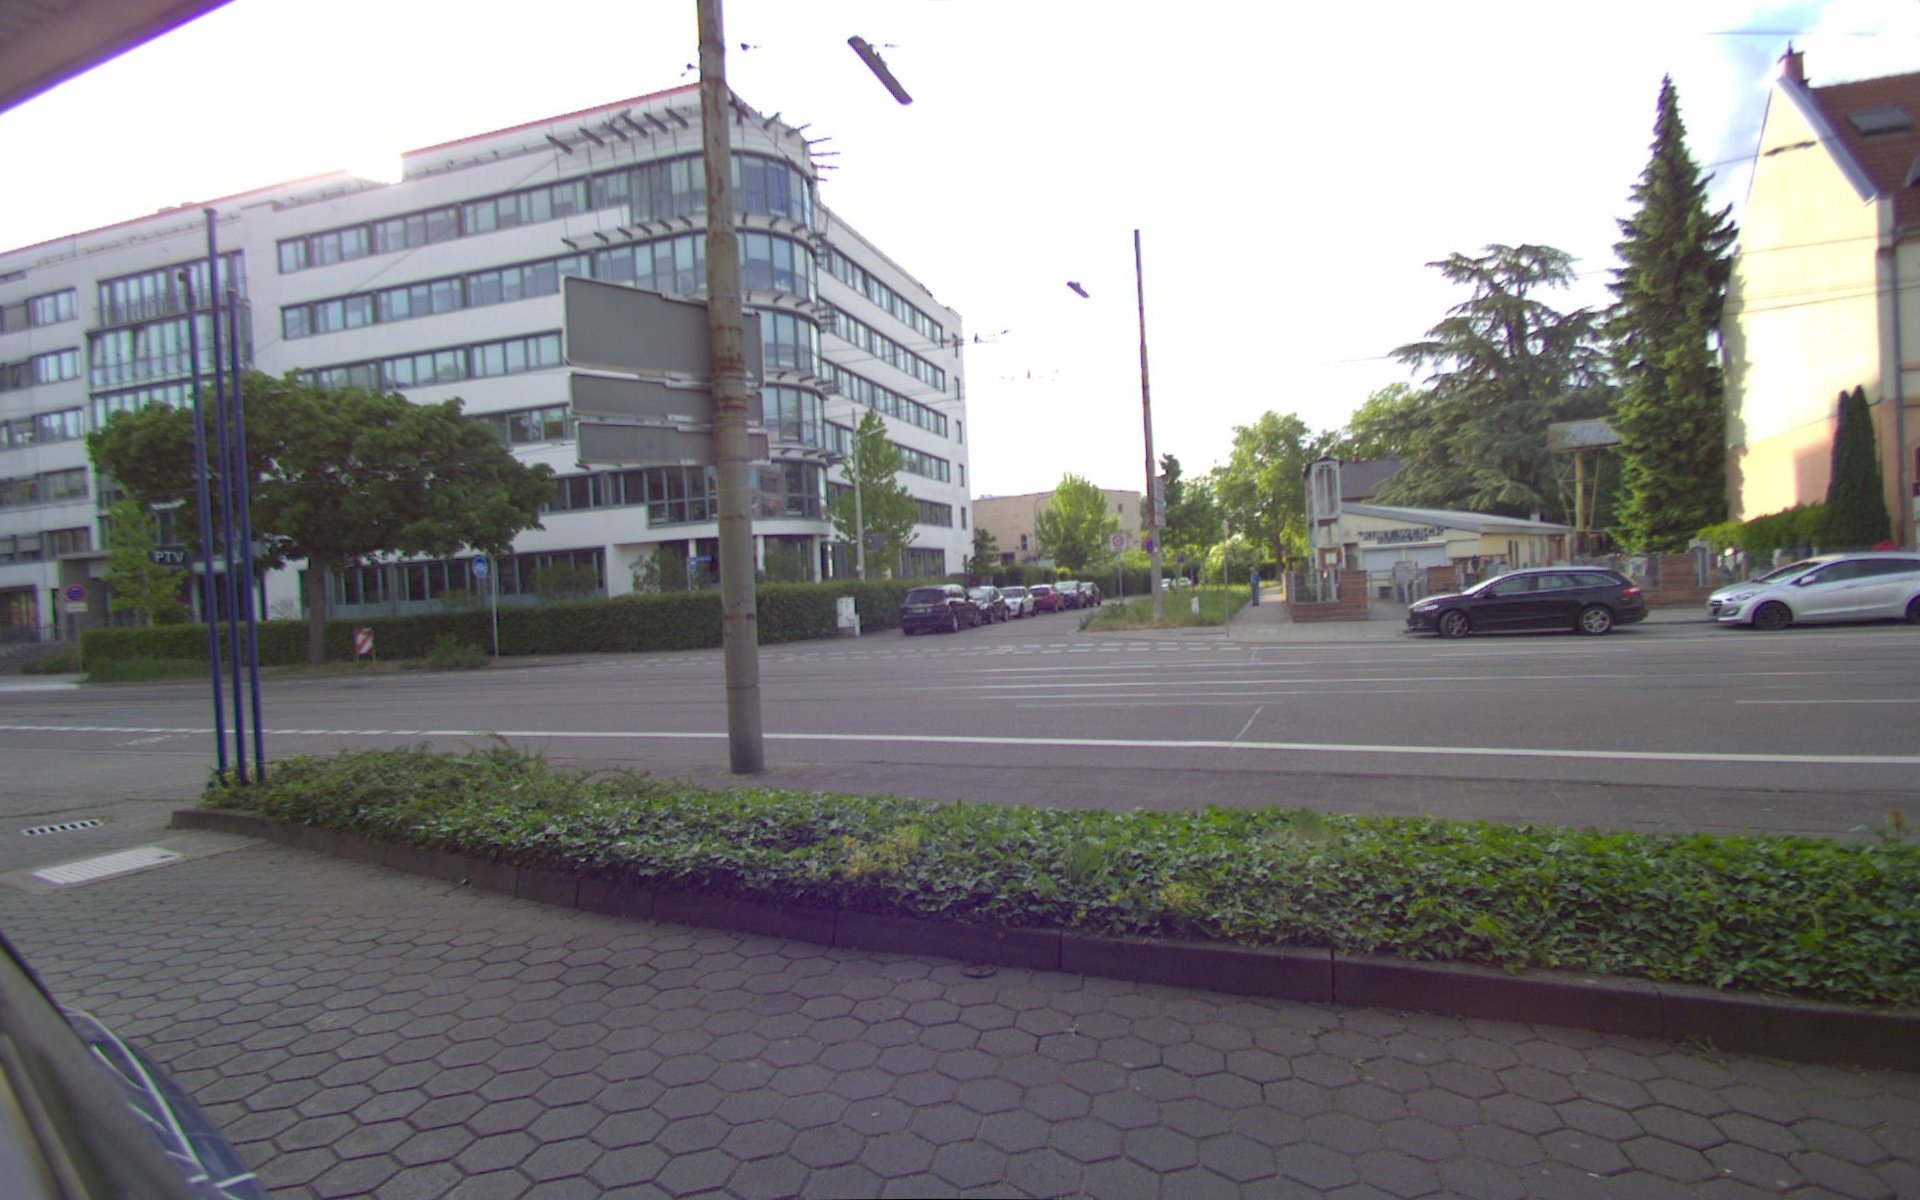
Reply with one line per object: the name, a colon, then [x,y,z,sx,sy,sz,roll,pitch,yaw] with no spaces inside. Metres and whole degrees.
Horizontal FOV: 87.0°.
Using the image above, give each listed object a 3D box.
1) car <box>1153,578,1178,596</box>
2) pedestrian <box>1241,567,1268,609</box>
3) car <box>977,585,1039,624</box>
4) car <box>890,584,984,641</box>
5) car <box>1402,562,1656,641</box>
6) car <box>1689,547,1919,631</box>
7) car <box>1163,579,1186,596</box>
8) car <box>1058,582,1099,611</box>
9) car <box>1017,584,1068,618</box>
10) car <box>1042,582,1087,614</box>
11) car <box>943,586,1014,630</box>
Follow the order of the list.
car: [20.431,-1.275,100.612,1.774,1.653,4.060,-4,0,19]
pedestrian: [13.123,-0.518,45.155,1.000,1.843,1.083,-1,0,24]
car: [2.217,0.176,45.751,1.773,1.565,4.083,-4,0,17]
car: [-0.710,0.383,35.532,1.962,1.625,4.411,-4,2,17]
car: [12.930,0.046,23.412,4.791,1.507,1.986,-3,0,22]
car: [18.506,-0.255,21.496,4.459,1.486,1.986,-4,0,22]
car: [22.569,-1.304,106.309,1.774,1.653,4.060,-4,0,19]
car: [7.381,-0.234,62.668,1.773,1.653,4.064,-4,0,17]
car: [4.297,0.023,52.356,1.773,1.552,4.018,-4,0,17]
car: [5.991,-0.136,57.657,1.773,1.653,4.064,-4,0,17]
car: [0.810,0.290,40.889,1.773,1.565,4.083,-4,0,17]
